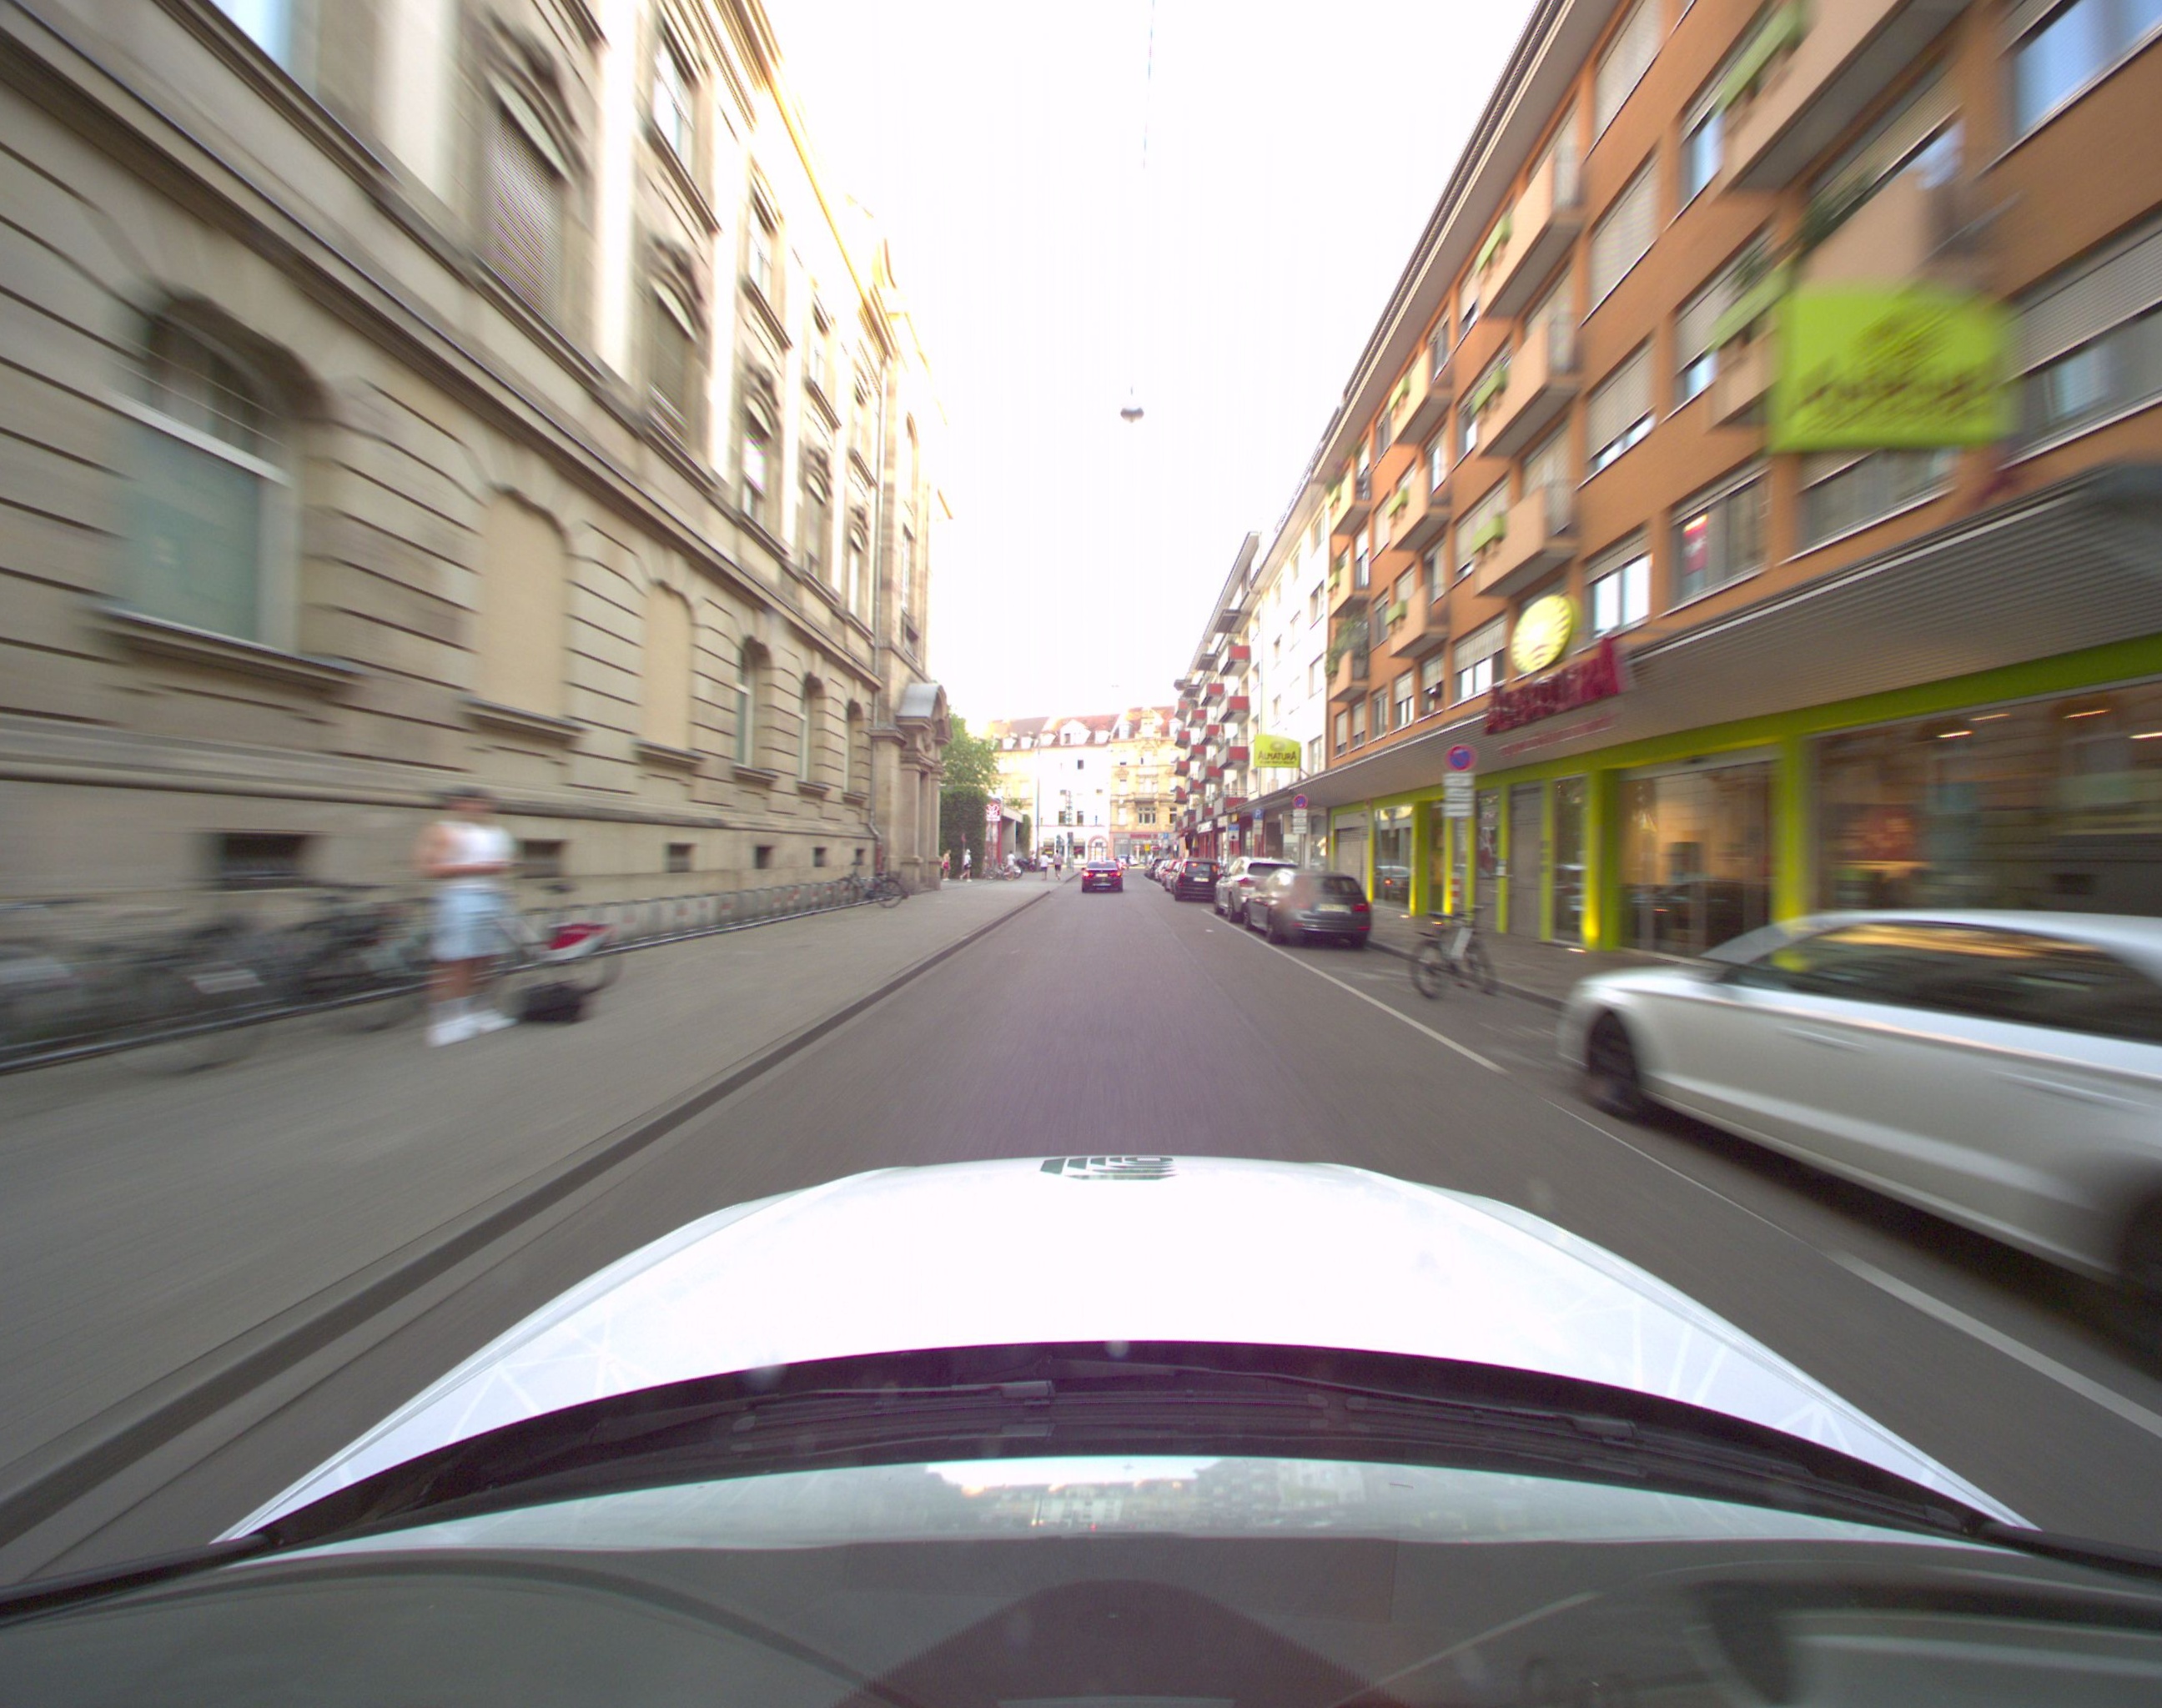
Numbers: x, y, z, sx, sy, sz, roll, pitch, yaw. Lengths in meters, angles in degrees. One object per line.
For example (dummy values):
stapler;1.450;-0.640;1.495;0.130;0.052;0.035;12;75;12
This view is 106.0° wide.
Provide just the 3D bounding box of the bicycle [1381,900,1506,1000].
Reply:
bicycle;4.398;1.107;9.834;1.746;1.055;0.652;2;0;-40

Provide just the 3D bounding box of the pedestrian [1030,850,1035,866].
pedestrian;-4.904;0.409;82.230;0.498;1.643;0.521;0;0;4

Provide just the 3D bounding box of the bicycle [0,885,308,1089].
bicycle;-5.865;0.777;4.901;1.791;1.108;0.499;2;-1;-4

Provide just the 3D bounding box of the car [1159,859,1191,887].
car;5.597;1.110;48.671;1.600;1.512;4.051;3;0;3

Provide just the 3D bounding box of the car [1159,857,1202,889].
car;5.326;1.004;44.140;1.706;1.512;4.652;3;0;0

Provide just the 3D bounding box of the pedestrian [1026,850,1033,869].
pedestrian;-5.197;0.580;82.901;0.580;1.882;0.635;0;0;7

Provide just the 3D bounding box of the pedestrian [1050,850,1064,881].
pedestrian;-1.481;0.713;50.743;0.741;1.893;1.051;2;0;3

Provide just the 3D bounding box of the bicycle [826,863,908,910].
bicycle;-5.440;0.822;20.823;1.939;1.061;0.617;4;-1;-13

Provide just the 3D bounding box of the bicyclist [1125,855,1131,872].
bicyclist;4.792;0.961;83.226;0.521;1.756;0.620;1;-1;4

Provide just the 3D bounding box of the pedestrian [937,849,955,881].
pedestrian;-7.521;0.622;45.449;0.750;1.749;0.847;2;0;1

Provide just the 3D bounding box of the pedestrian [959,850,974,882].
pedestrian;-6.356;0.665;45.140;0.646;1.750;0.986;1;0;1

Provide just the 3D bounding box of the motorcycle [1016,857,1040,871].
motorcycle;-4.363;0.794;66.556;1.783;1.064;0.769;2;0;27

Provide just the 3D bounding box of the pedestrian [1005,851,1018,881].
pedestrian;-4.128;0.696;48.477;0.714;1.754;0.848;1;0;1

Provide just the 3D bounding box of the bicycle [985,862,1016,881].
bicycle;-4.911;1.044;49.596;1.788;1.107;0.500;1;0;0

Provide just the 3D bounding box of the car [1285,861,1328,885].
car;13.356;1.098;48.390;1.732;1.336;4.004;0;0;4

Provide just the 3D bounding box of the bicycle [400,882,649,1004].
bicycle;-5.377;0.844;7.948;1.931;1.061;0.619;2;-1;-1

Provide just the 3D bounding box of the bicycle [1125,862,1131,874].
bicycle;4.781;1.427;83.244;0.534;1.107;1.802;1;0;4

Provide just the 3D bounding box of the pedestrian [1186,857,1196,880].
pedestrian;7.890;1.038;58.498;0.645;1.661;0.656;-2;-1;3

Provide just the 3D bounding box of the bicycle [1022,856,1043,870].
bicycle;-4.129;0.766;69.329;1.790;1.107;0.499;2;0;-4

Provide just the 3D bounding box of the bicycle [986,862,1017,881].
bicycle;-4.794;1.039;49.247;1.787;1.107;0.500;1;0;1

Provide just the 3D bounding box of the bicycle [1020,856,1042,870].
bicycle;-4.194;0.767;67.987;1.788;1.107;0.500;2;0;0

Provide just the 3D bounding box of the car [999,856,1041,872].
car;-5.961;0.953;78.909;3.982;1.501;1.887;0;0;-7

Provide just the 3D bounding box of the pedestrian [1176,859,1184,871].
pedestrian;9.383;1.043;77.239;0.421;1.201;0.531;-2;-1;-41

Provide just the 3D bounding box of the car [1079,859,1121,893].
car;0.895;0.955;37.061;1.758;1.375;4.793;1;0;2

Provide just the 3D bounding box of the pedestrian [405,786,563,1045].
pedestrian;-4.547;0.443;6.258;0.587;1.851;0.753;2;0;-4

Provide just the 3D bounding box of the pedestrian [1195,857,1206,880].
pedestrian;8.584;1.039;58.457;0.645;1.661;0.794;-2;-1;4

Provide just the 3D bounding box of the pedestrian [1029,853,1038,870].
pedestrian;-4.882;0.736;83.659;0.665;1.746;0.661;0;0;41

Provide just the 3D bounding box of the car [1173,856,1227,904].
car;4.441;0.914;30.913;1.785;1.610;4.494;3;0;6

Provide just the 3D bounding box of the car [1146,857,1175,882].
car;5.857;1.121;60.388;1.758;1.642;4.793;3;0;2

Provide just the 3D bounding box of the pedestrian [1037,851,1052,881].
pedestrian;-2.264;0.743;50.361;0.738;1.812;1.009;3;0;1

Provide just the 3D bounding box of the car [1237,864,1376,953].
car;4.419;0.981;16.688;1.685;1.414;4.759;3;0;3

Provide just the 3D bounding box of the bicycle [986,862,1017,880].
bicycle;-4.894;1.047;50.132;1.788;1.107;0.500;1;0;0

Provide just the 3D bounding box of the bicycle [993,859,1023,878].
bicycle;-4.651;0.916;51.769;1.786;1.107;0.501;1;0;4

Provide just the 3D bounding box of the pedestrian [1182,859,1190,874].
pedestrian;9.581;1.107;74.355;0.604;1.348;0.696;-1;0;1

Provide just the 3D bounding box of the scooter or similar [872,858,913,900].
scooter or similar;-5.701;0.751;24.621;1.133;1.232;0.495;2;0;-11

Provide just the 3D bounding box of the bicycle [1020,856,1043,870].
bicycle;-4.176;0.764;68.581;1.786;1.107;0.501;2;0;4

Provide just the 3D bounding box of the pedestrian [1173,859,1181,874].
pedestrian;8.755;1.129;74.027;0.682;1.286;0.610;-1;-1;11

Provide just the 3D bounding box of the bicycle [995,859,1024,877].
bicycle;-4.612;0.924;52.400;1.786;1.107;0.501;1;0;4

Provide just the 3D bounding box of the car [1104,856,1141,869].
car;5.288;1.067;104.544;4.312;1.562;1.879;0;-1;24

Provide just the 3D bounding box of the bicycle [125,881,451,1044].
bicycle;-5.877;0.794;6.102;1.791;1.108;0.499;2;-1;-4

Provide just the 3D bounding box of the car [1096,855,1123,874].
car;2.338;0.803;65.562;1.868;1.473;4.007;0;0;6

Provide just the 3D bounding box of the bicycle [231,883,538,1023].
bicycle;-5.842;0.821;6.916;1.933;1.061;0.619;2;-1;-4

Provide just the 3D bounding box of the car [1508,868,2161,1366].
car;4.118;0.871;3.834;1.686;1.411;4.637;3;0;-1

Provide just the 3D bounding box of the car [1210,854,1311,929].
car;4.626;0.879;21.655;1.745;1.668;4.759;3;0;2

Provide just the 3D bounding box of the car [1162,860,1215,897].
car;4.716;1.039;36.286;1.731;1.415;4.682;3;0;0

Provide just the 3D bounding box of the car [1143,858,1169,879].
car;6.060;1.173;66.279;1.758;1.502;4.793;3;0;2

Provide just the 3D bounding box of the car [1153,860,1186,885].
car;5.794;1.162;53.847;1.693;1.452;4.458;3;0;0
